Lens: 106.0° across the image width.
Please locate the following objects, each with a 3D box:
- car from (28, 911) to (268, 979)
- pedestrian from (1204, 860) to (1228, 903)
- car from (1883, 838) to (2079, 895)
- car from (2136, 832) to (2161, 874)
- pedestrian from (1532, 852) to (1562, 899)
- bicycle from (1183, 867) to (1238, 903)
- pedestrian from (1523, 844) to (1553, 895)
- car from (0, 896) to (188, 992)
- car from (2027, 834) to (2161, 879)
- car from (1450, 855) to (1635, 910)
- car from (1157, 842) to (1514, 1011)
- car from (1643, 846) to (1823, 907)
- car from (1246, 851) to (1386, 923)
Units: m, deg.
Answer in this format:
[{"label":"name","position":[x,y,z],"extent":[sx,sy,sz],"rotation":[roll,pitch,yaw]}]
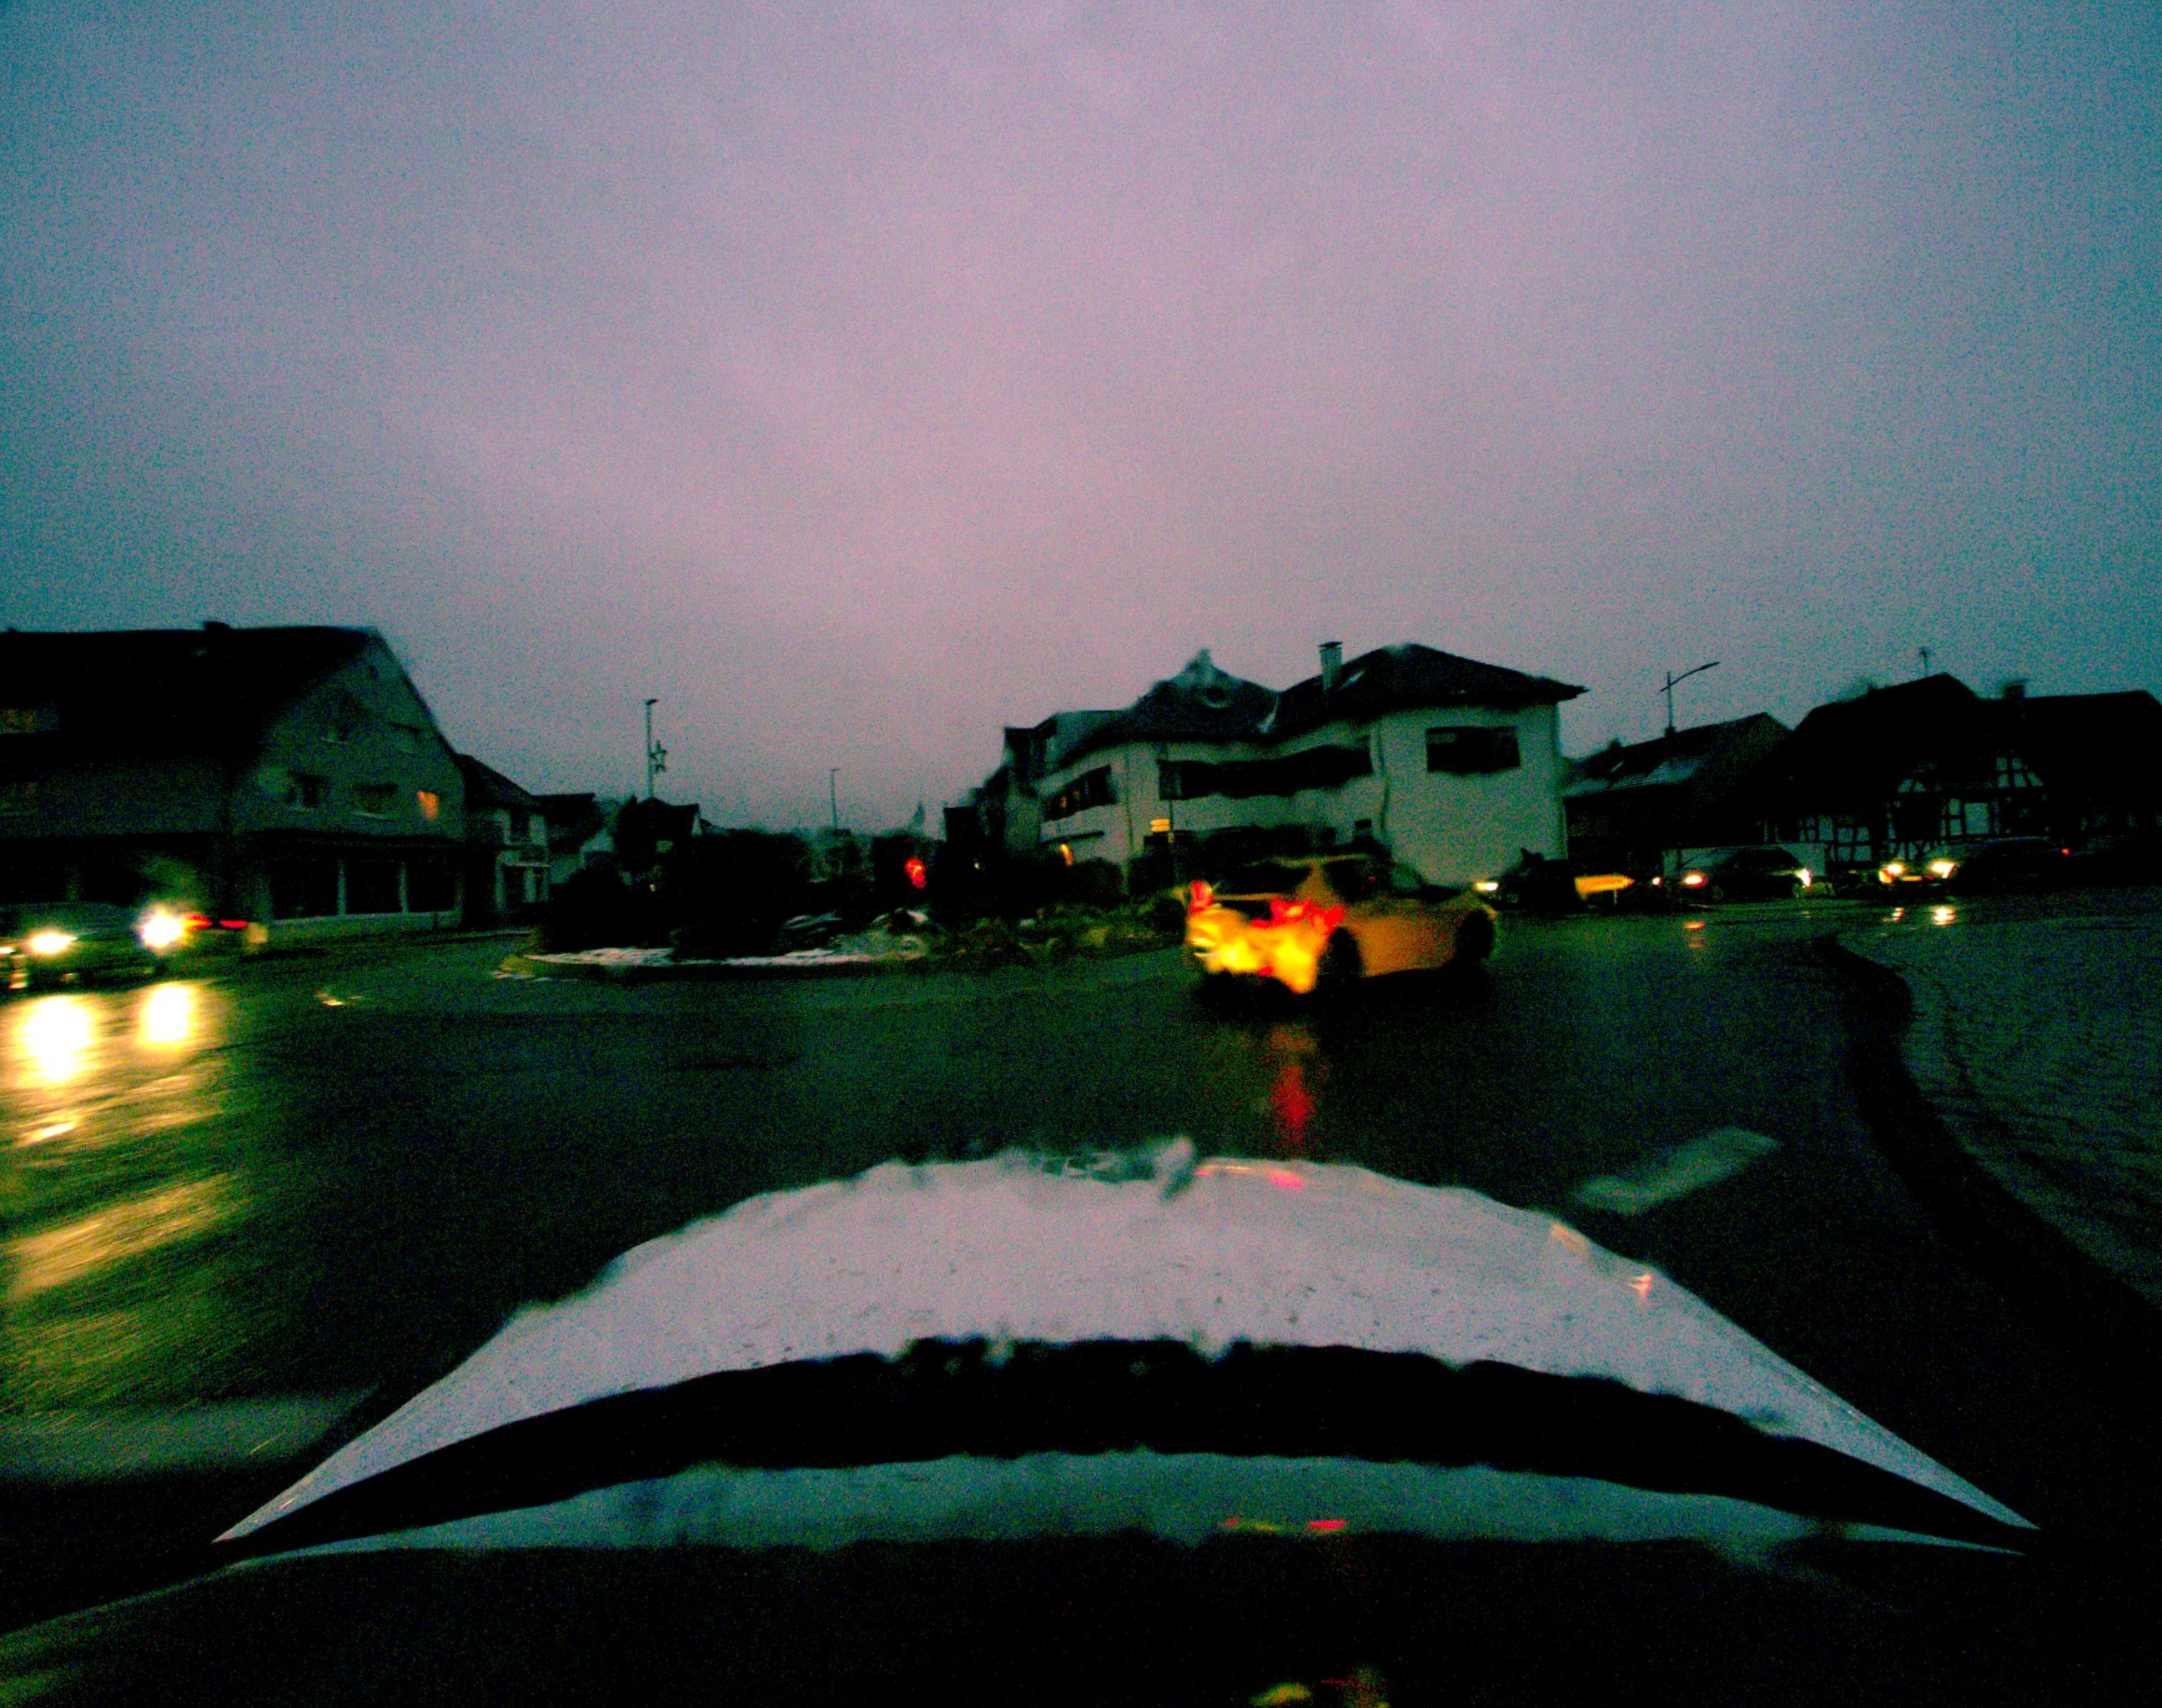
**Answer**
[{"label":"car","position":[-26.963,2.591,23.685],"extent":[4.478,1.611,1.897],"rotation":[-2,-1,-5]},{"label":"pedestrian","position":[5.161,1.048,31.143],"extent":[0.683,1.564,0.614],"rotation":[-3,-1,26]},{"label":"car","position":[27.024,0.393,24.521],"extent":[4.237,1.508,1.693],"rotation":[-2,-2,-5]},{"label":"car","position":[41.264,-0.105,29.729],"extent":[3.701,1.550,1.669],"rotation":[-2,-1,-7]},{"label":"pedestrian","position":[16.573,0.750,28.993],"extent":[0.711,1.621,0.583],"rotation":[-2,-1,7]},{"label":"bicycle","position":[4.906,1.179,30.844],"extent":[1.918,1.295,0.555],"rotation":[-3,0,27]},{"label":"pedestrian","position":[16.680,0.563,29.753],"extent":[0.711,1.832,0.639],"rotation":[-2,0,7]},{"label":"car","position":[-20.539,1.738,16.833],"extent":[4.572,1.593,1.966],"rotation":[-1,0,31]},{"label":"car","position":[36.393,0.079,29.002],"extent":[3.693,1.466,1.723],"rotation":[-2,-1,-7]},{"label":"car","position":[13.154,0.840,23.386],"extent":[4.208,1.384,1.850],"rotation":[-2,-4,-1]},{"label":"car","position":[2.979,0.659,9.228],"extent":[4.029,1.422,1.697],"rotation":[-2,0,-34]},{"label":"car","position":[18.870,0.646,23.662],"extent":[3.980,1.552,1.694],"rotation":[-2,-2,-5]},{"label":"car","position":[5.942,0.800,21.146],"extent":[1.916,1.615,3.936],"rotation":[-2,-1,-10]}]
